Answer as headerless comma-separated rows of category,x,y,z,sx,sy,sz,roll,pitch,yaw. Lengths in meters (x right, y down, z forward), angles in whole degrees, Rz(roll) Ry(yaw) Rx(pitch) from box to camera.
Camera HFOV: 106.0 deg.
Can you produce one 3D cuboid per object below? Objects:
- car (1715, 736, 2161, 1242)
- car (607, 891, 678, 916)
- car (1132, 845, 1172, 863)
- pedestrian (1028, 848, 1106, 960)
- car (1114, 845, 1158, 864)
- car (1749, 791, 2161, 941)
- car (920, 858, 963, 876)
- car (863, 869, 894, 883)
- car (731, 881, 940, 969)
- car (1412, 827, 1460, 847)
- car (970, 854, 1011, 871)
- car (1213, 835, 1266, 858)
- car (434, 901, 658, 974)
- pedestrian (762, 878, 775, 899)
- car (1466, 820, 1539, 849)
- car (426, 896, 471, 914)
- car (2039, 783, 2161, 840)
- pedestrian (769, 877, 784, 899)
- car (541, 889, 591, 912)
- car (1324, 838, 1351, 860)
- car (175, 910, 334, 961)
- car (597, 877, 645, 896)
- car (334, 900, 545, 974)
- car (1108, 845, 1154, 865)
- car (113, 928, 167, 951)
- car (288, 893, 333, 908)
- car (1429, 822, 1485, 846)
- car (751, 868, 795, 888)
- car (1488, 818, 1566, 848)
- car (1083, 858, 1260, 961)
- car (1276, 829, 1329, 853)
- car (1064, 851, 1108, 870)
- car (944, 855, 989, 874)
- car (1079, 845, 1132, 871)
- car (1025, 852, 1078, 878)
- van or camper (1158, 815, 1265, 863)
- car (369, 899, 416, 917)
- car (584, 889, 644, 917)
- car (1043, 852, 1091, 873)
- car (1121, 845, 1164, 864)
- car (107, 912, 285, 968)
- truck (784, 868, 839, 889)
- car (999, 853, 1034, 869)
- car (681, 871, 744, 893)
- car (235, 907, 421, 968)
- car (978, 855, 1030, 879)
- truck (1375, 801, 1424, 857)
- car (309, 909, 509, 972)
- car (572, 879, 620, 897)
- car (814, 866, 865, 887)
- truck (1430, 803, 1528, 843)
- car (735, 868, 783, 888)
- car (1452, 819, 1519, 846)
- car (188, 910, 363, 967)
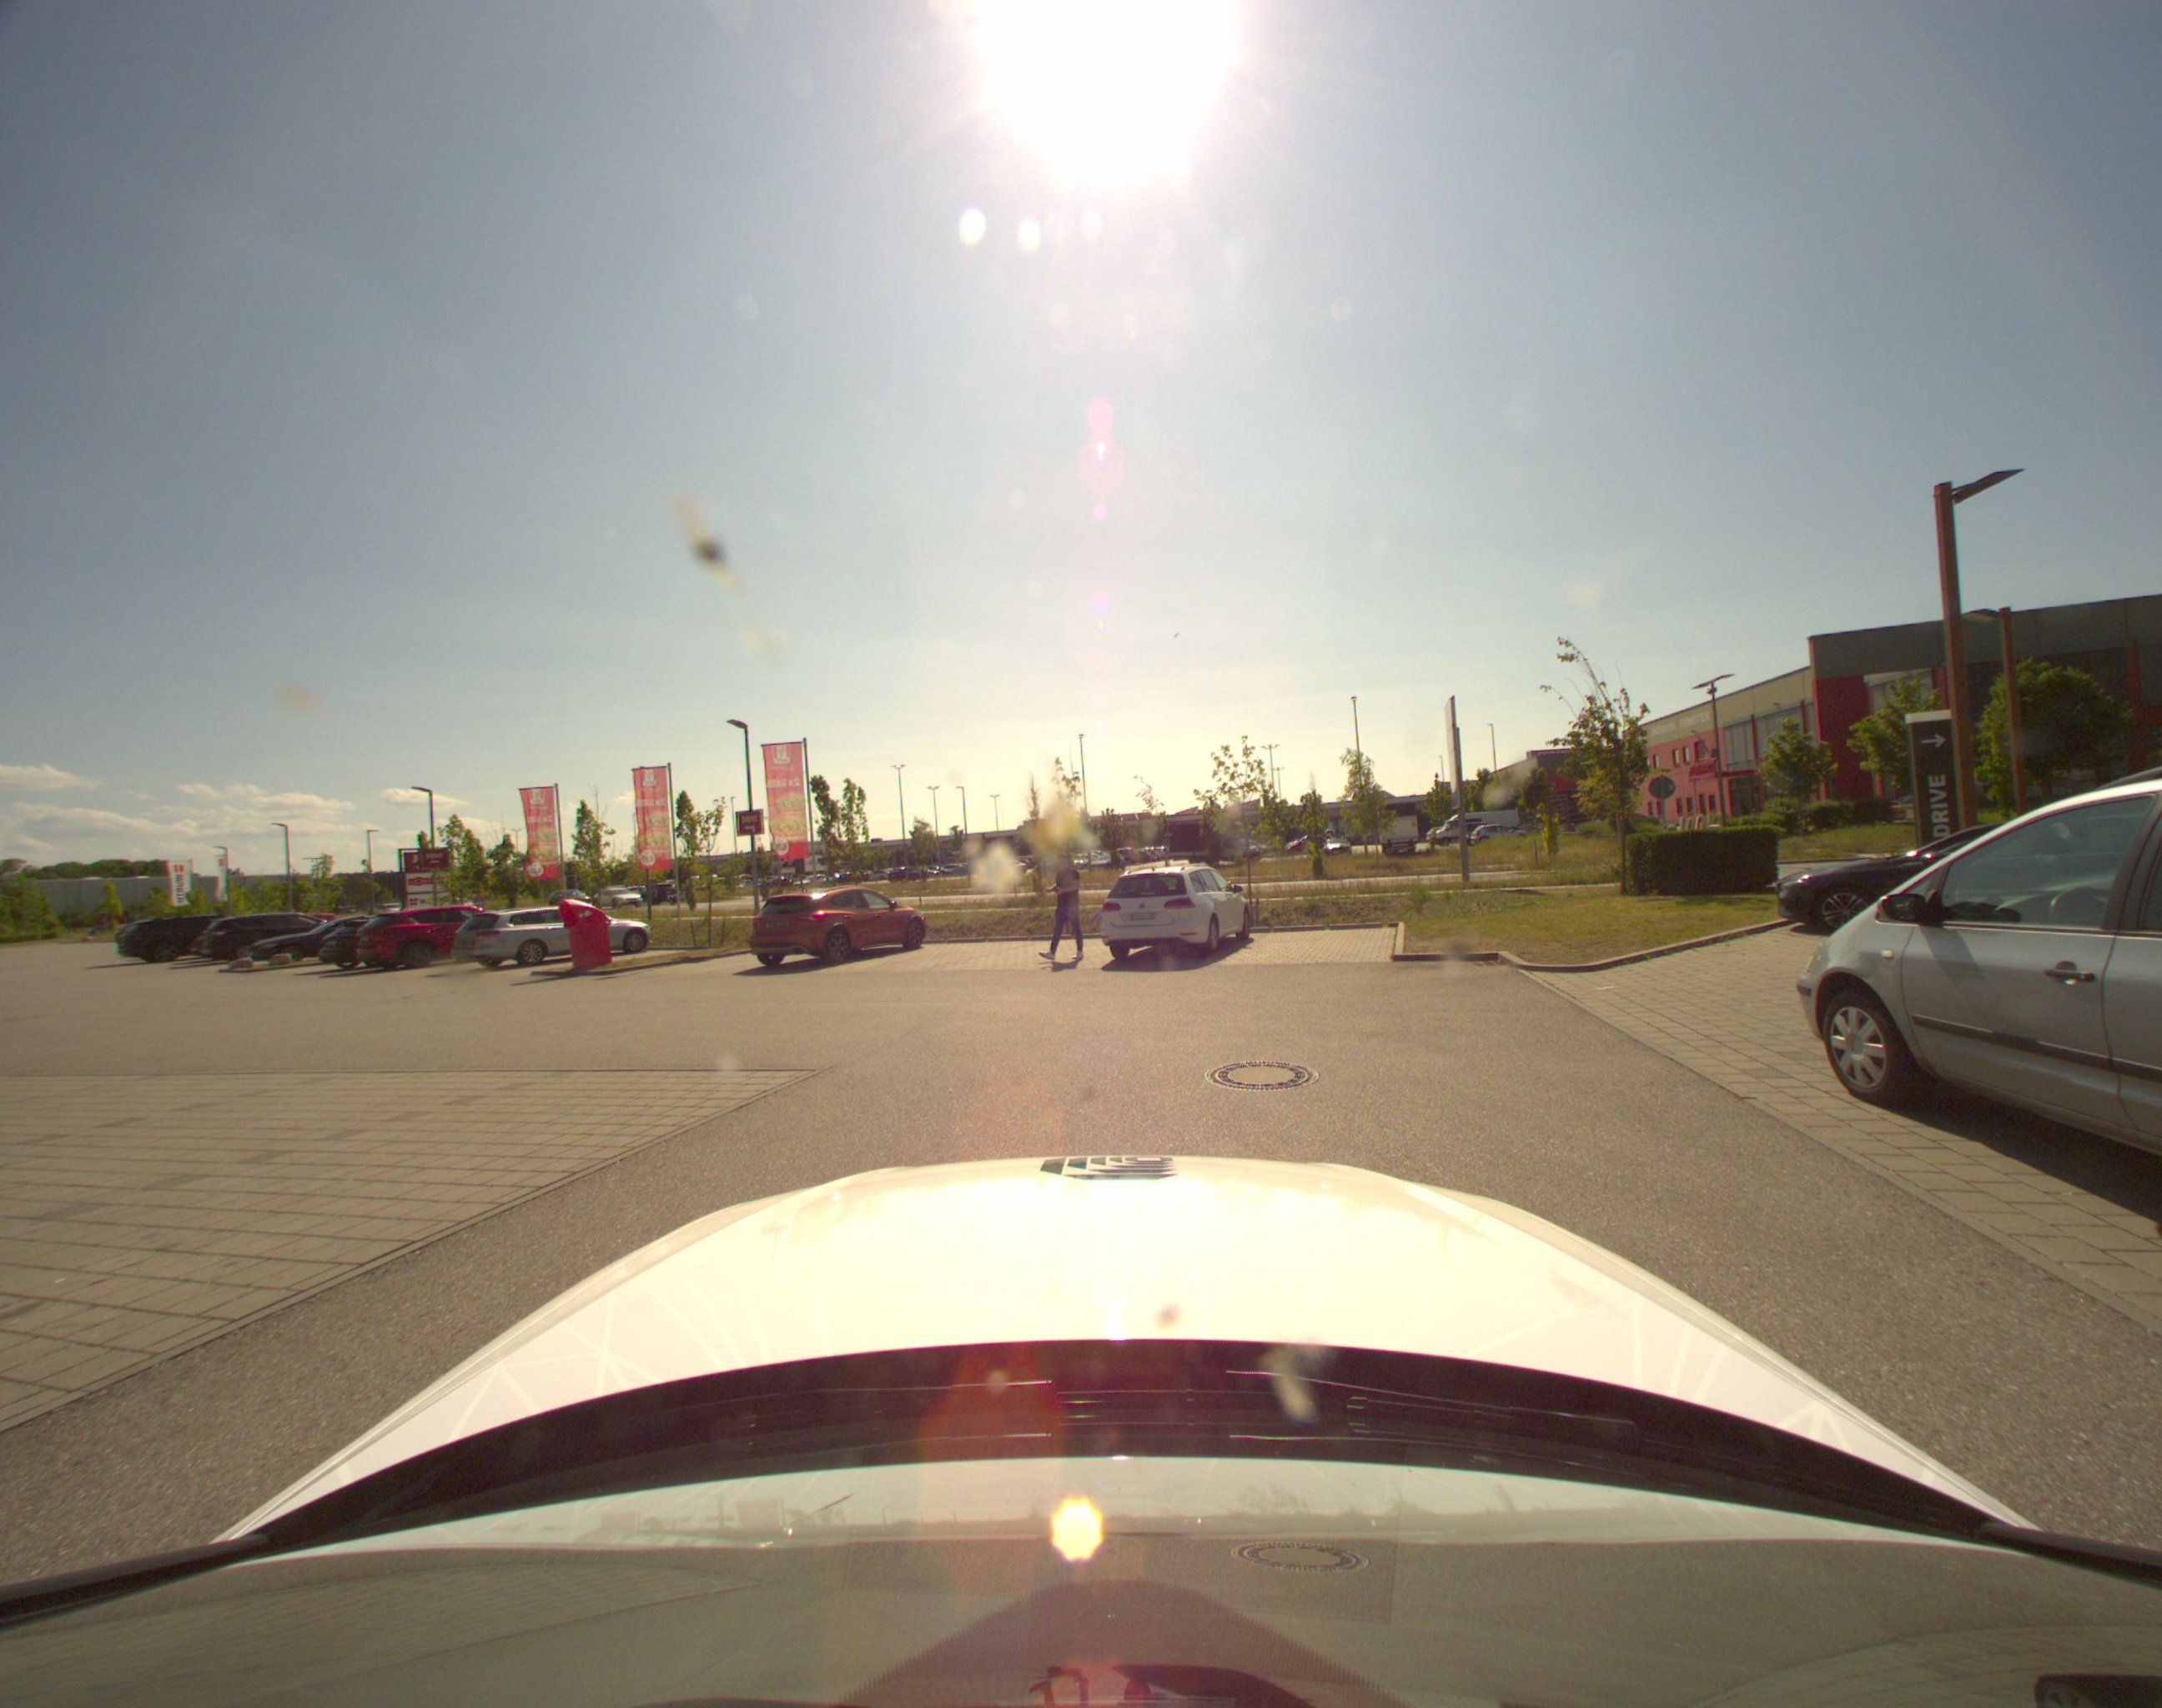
car,4.682,0.414,3.035,1.814,1.748,4.701,-4,-1,14
car,-35.421,3.989,65.790,5.164,1.731,1.998,-3,0,18
car,8.358,-0.062,95.754,4.358,1.855,1.963,-3,0,14
pedestrian,-0.237,0.842,13.943,0.999,1.809,0.717,-2,-2,-40
car,5.975,0.054,87.742,4.358,1.855,1.963,-3,0,14
car,11.308,0.118,10.042,1.982,1.526,4.289,-4,0,-31
car,-18.033,1.658,105.318,4.885,2.013,2.088,-3,0,10
car,-26.797,2.897,107.674,3.444,1.552,1.671,-3,0,9
car,-4.998,1.416,17.285,1.811,1.469,4.377,-4,-2,23
car,37.727,-1.801,86.723,4.358,1.855,1.963,-3,0,14
car,-11.172,1.062,100.620,4.525,1.855,1.963,-3,0,14
car,15.569,-0.730,80.138,4.885,2.013,2.088,-3,0,10
car,-13.813,2.123,21.387,1.718,1.413,4.629,-4,-1,27
pedestrian,-23.401,2.588,61.027,0.658,1.556,0.630,-4,-1,40
car,31.135,-1.446,60.256,4.358,1.855,1.963,-3,0,14
car,-62.383,5.063,80.331,4.596,1.504,2.013,-3,0,33
car,40.458,-1.647,30.986,4.837,1.954,1.888,-3,-1,20
pedestrian,-22.648,2.530,60.503,0.747,1.599,0.697,-4,-1,40
car,-43.228,3.907,68.305,4.543,1.664,1.891,-3,0,35
car,18.160,-0.361,57.596,1.636,1.459,3.986,-3,0,19
car,-33.211,3.229,32.843,1.871,1.609,4.107,-3,-1,30
car,-58.563,4.095,103.793,1.975,2.013,5.105,-3,0,24
car,-18.192,2.301,23.330,1.926,1.638,4.257,-4,-1,27
car,5.100,0.092,82.888,4.358,1.855,1.963,-3,0,14
car,-68.590,6.223,59.335,3.847,1.406,1.714,-4,-1,28
car,-97.021,5.875,102.536,1.696,1.598,3.682,-3,0,15
car,34.589,-1.821,75.036,4.358,1.855,1.963,-3,0,14
car,-34.580,2.685,91.481,1.974,2.013,4.117,-3,0,38
car,31.340,-1.463,57.374,4.358,1.855,1.963,-3,0,14
car,1.785,0.875,14.404,1.811,1.469,4.506,-4,-2,23
car,19.195,-1.114,70.644,4.223,1.855,1.877,-3,0,14
car,0.587,0.736,89.890,4.358,1.855,1.963,-3,0,14
car,-13.012,1.147,92.714,4.525,1.855,1.963,-3,0,14
car,1.984,0.278,64.806,1.930,1.855,4.433,-3,0,38
car,-2.378,0.893,67.645,1.930,1.855,4.433,-3,0,38
van or camper,9.578,-1.036,60.778,2.433,3.101,7.957,-3,0,-42
car,-67.037,5.291,79.287,4.597,1.526,2.013,-3,0,30
car,-35.715,3.747,62.247,4.350,1.845,2.013,-3,0,30
car,-1.413,0.844,81.941,4.358,1.855,1.963,-3,0,14
car,6.814,0.011,89.643,4.358,1.855,1.963,-3,0,14
car,-36.089,3.459,33.349,1.871,1.760,4.619,-4,-1,32
truck,-28.693,2.574,86.872,1.974,1.863,5.468,-3,0,34
car,-8.926,0.964,113.158,4.358,1.855,1.963,-3,0,14
car,-43.654,3.317,96.654,2.781,2.237,6.350,-3,0,28
car,-26.549,2.895,28.875,1.871,1.638,4.479,-4,-1,34
car,-6.641,1.116,70.296,1.974,1.855,4.314,-3,0,38
truck,21.721,-1.675,55.853,2.736,3.480,6.867,-3,0,20
car,-20.019,2.535,24.491,1.752,1.410,4.230,-4,-1,24
car,-63.376,4.437,106.433,1.975,2.013,5.105,-3,0,24
car,-24.737,2.298,83.703,1.974,1.846,4.763,-3,0,35
truck,33.014,-2.526,67.833,6.984,2.814,1.963,-3,0,14
car,-37.828,2.850,95.767,1.975,2.013,5.209,-3,0,24
car,32.348,-1.719,65.256,4.358,1.855,1.963,-3,0,14
car,-30.709,3.178,31.208,1.872,1.703,4.358,-4,-1,27
